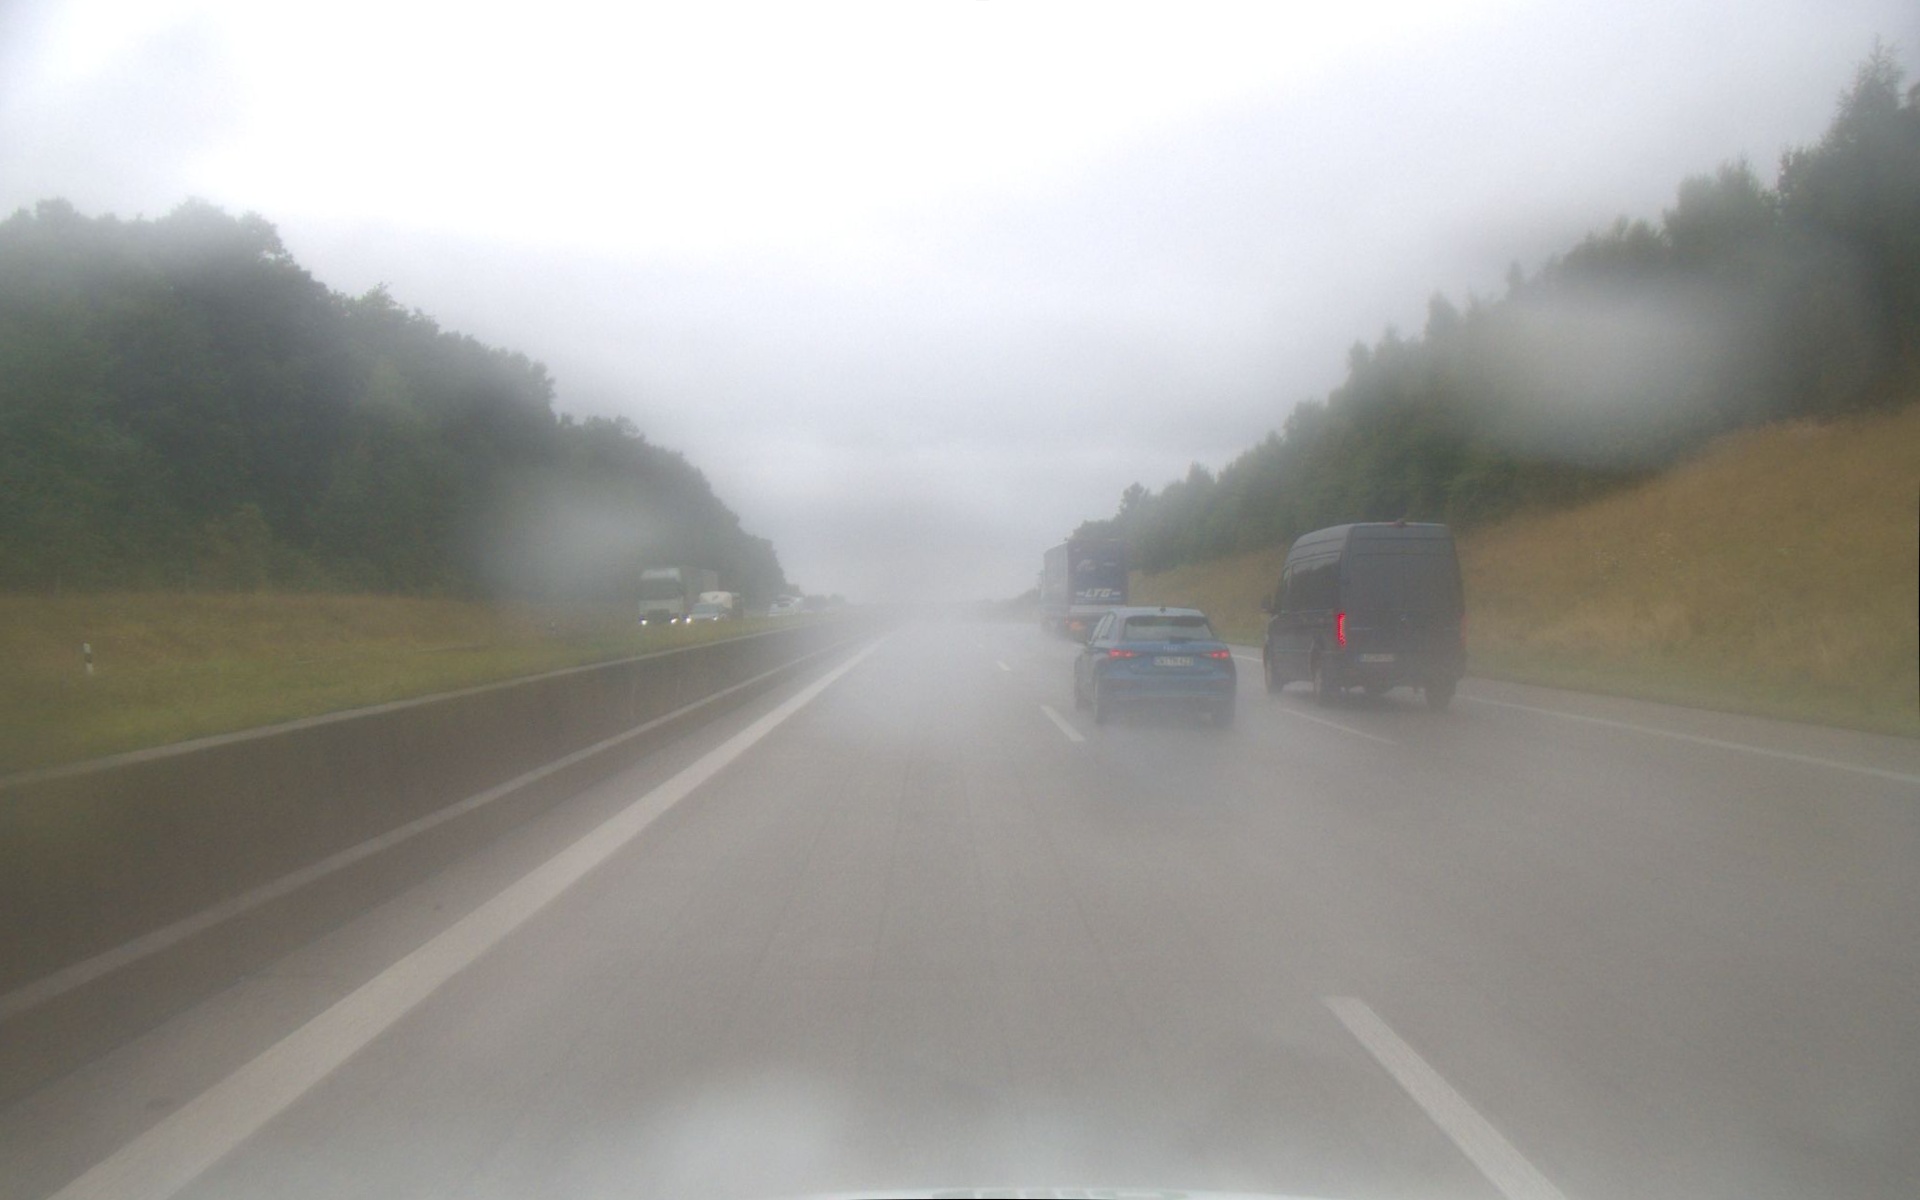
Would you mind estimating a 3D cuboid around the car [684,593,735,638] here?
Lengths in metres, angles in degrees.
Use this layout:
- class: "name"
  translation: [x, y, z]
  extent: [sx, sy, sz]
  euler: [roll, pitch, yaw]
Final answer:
- class: "car"
  translation: [-13.365, 0.788, 88.530]
  extent: [1.953, 2.218, 5.205]
  euler: [-2, 0, -2]

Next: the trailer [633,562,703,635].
- class: "trailer"
  translation: [-17.798, -0.119, 101.484]
  extent: [2.534, 4.117, 10.371]
  euler: [-3, 0, -2]

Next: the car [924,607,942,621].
- class: "car"
  translation: [-2.653, 1.341, 161.665]
  extent: [1.694, 1.354, 4.428]
  euler: [0, 0, -1]

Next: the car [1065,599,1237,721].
- class: "car"
  translation: [2.498, 0.797, 22.719]
  extent: [1.694, 1.484, 4.670]
  euler: [-1, -1, -1]

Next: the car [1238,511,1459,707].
- class: "car"
  translation: [5.996, 0.125, 26.438]
  extent: [1.901, 2.705, 6.585]
  euler: [1, 0, 0]

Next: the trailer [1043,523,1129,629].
- class: "trailer"
  translation: [5.680, -0.914, 77.224]
  extent: [2.651, 4.456, 15.201]
  euler: [1, -1, -1]
